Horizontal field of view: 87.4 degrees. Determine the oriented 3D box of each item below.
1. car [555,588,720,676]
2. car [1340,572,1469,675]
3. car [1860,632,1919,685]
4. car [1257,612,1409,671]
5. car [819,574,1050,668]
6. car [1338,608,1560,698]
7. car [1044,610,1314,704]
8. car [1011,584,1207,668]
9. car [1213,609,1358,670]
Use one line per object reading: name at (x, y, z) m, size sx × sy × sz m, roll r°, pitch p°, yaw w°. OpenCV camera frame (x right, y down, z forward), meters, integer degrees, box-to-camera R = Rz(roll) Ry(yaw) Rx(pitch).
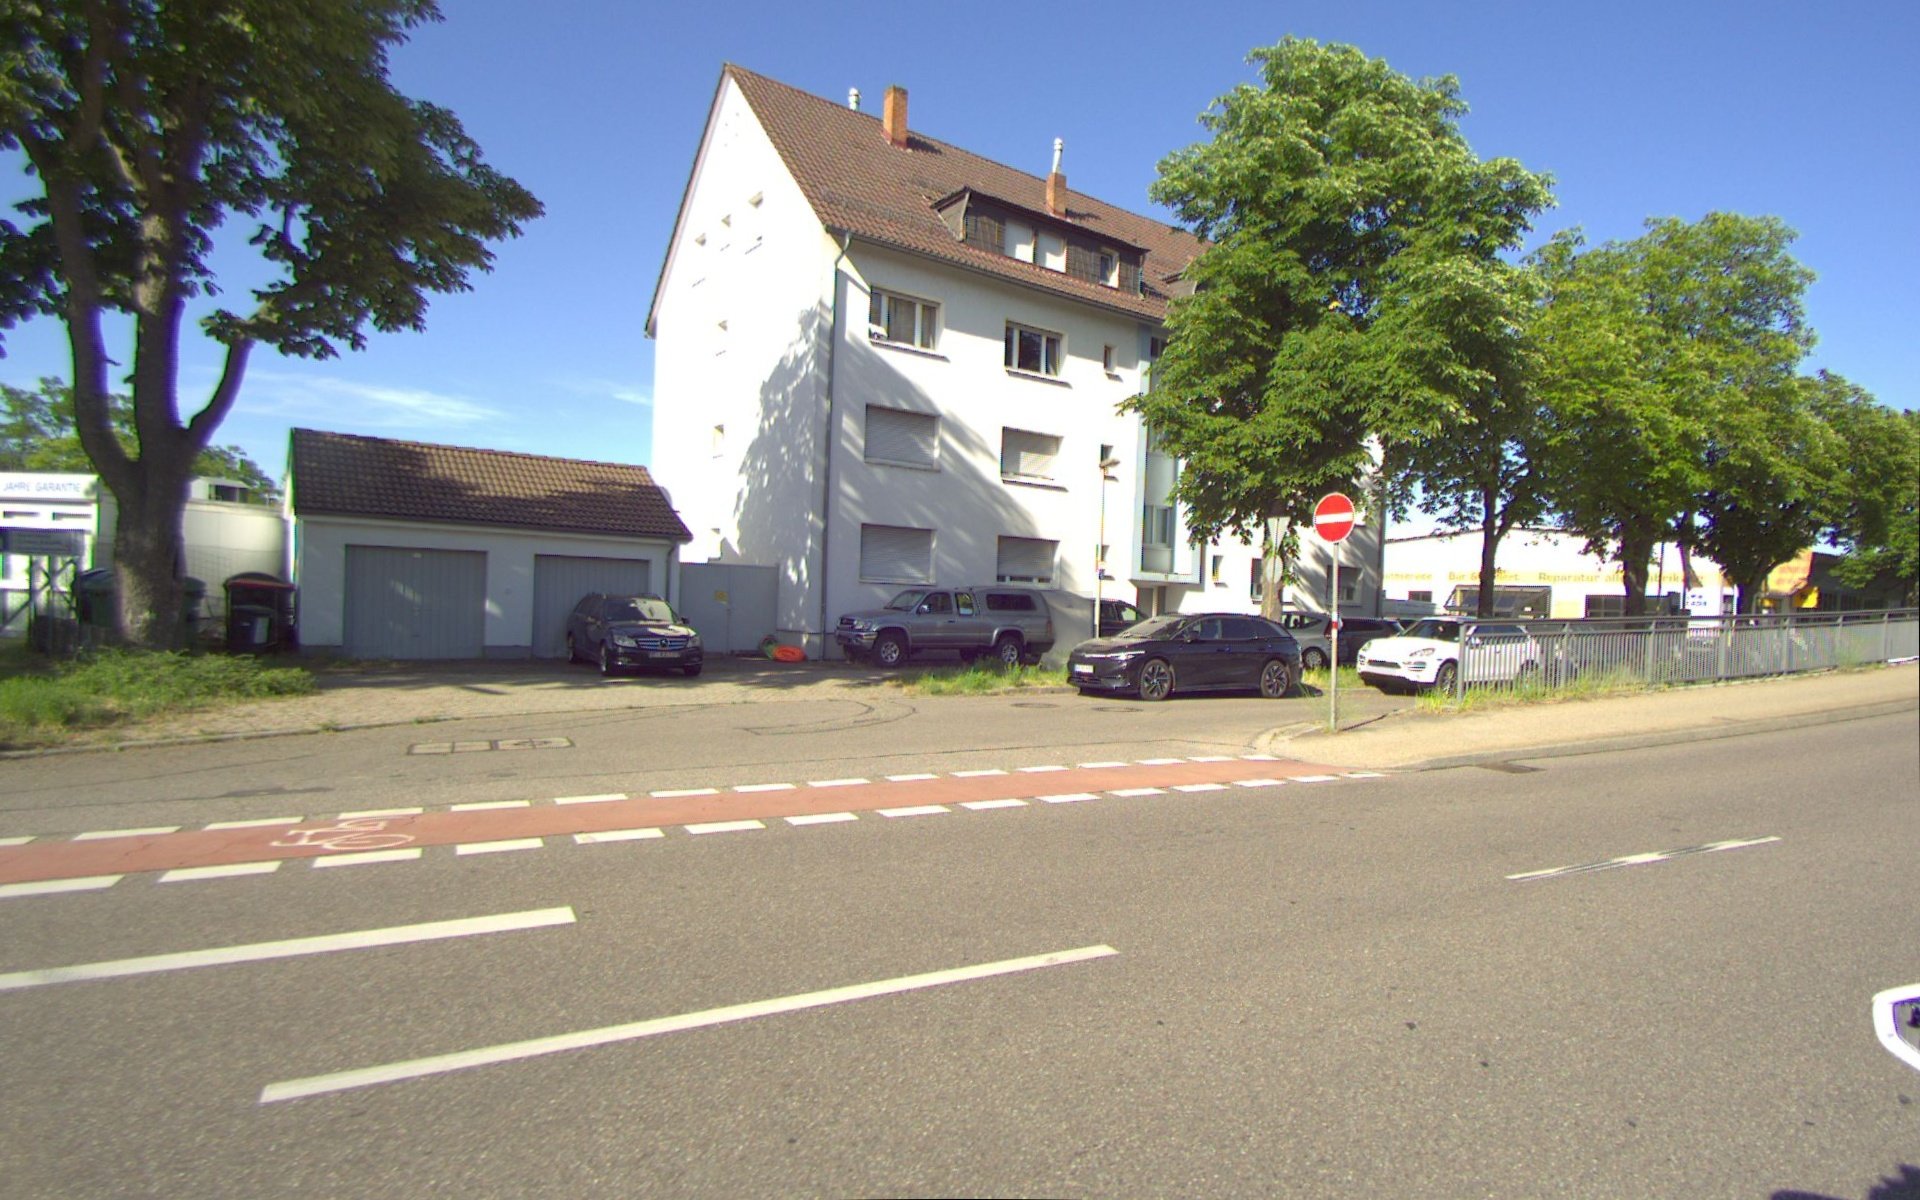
car at (-6.270, 0.563, 19.262) m, size 1.889 × 1.448 × 3.960 m, roll 3°, pitch 0°, yaw -35°
car at (19.490, 1.088, 43.938) m, size 5.857 × 2.583 × 2.118 m, roll 20°, pitch 2°, yaw -37°
car at (40.104, 2.422, 42.384) m, size 4.206 × 2.018 × 1.914 m, roll 1°, pitch 1°, yaw -29°
car at (11.286, 1.198, 30.492) m, size 3.936 × 1.619 × 1.992 m, roll 0°, pitch 0°, yaw 37°
car at (-0.517, 0.493, 22.910) m, size 5.045 × 1.956 × 1.738 m, roll 2°, pitch 0°, yaw -31°
car at (11.018, 1.151, 22.508) m, size 5.179 × 1.752 × 2.026 m, roll 2°, pitch 1°, yaw -32°
car at (4.133, 1.011, 18.662) m, size 4.908 × 1.483 × 2.026 m, roll 2°, pitch 0°, yaw -33°
car at (3.855, 0.661, 25.703) m, size 4.735 × 1.956 × 2.057 m, roll 2°, pitch 0°, yaw -33°
car at (9.279, 1.079, 28.685) m, size 3.605 × 1.530 × 1.780 m, roll 2°, pitch 1°, yaw 32°
